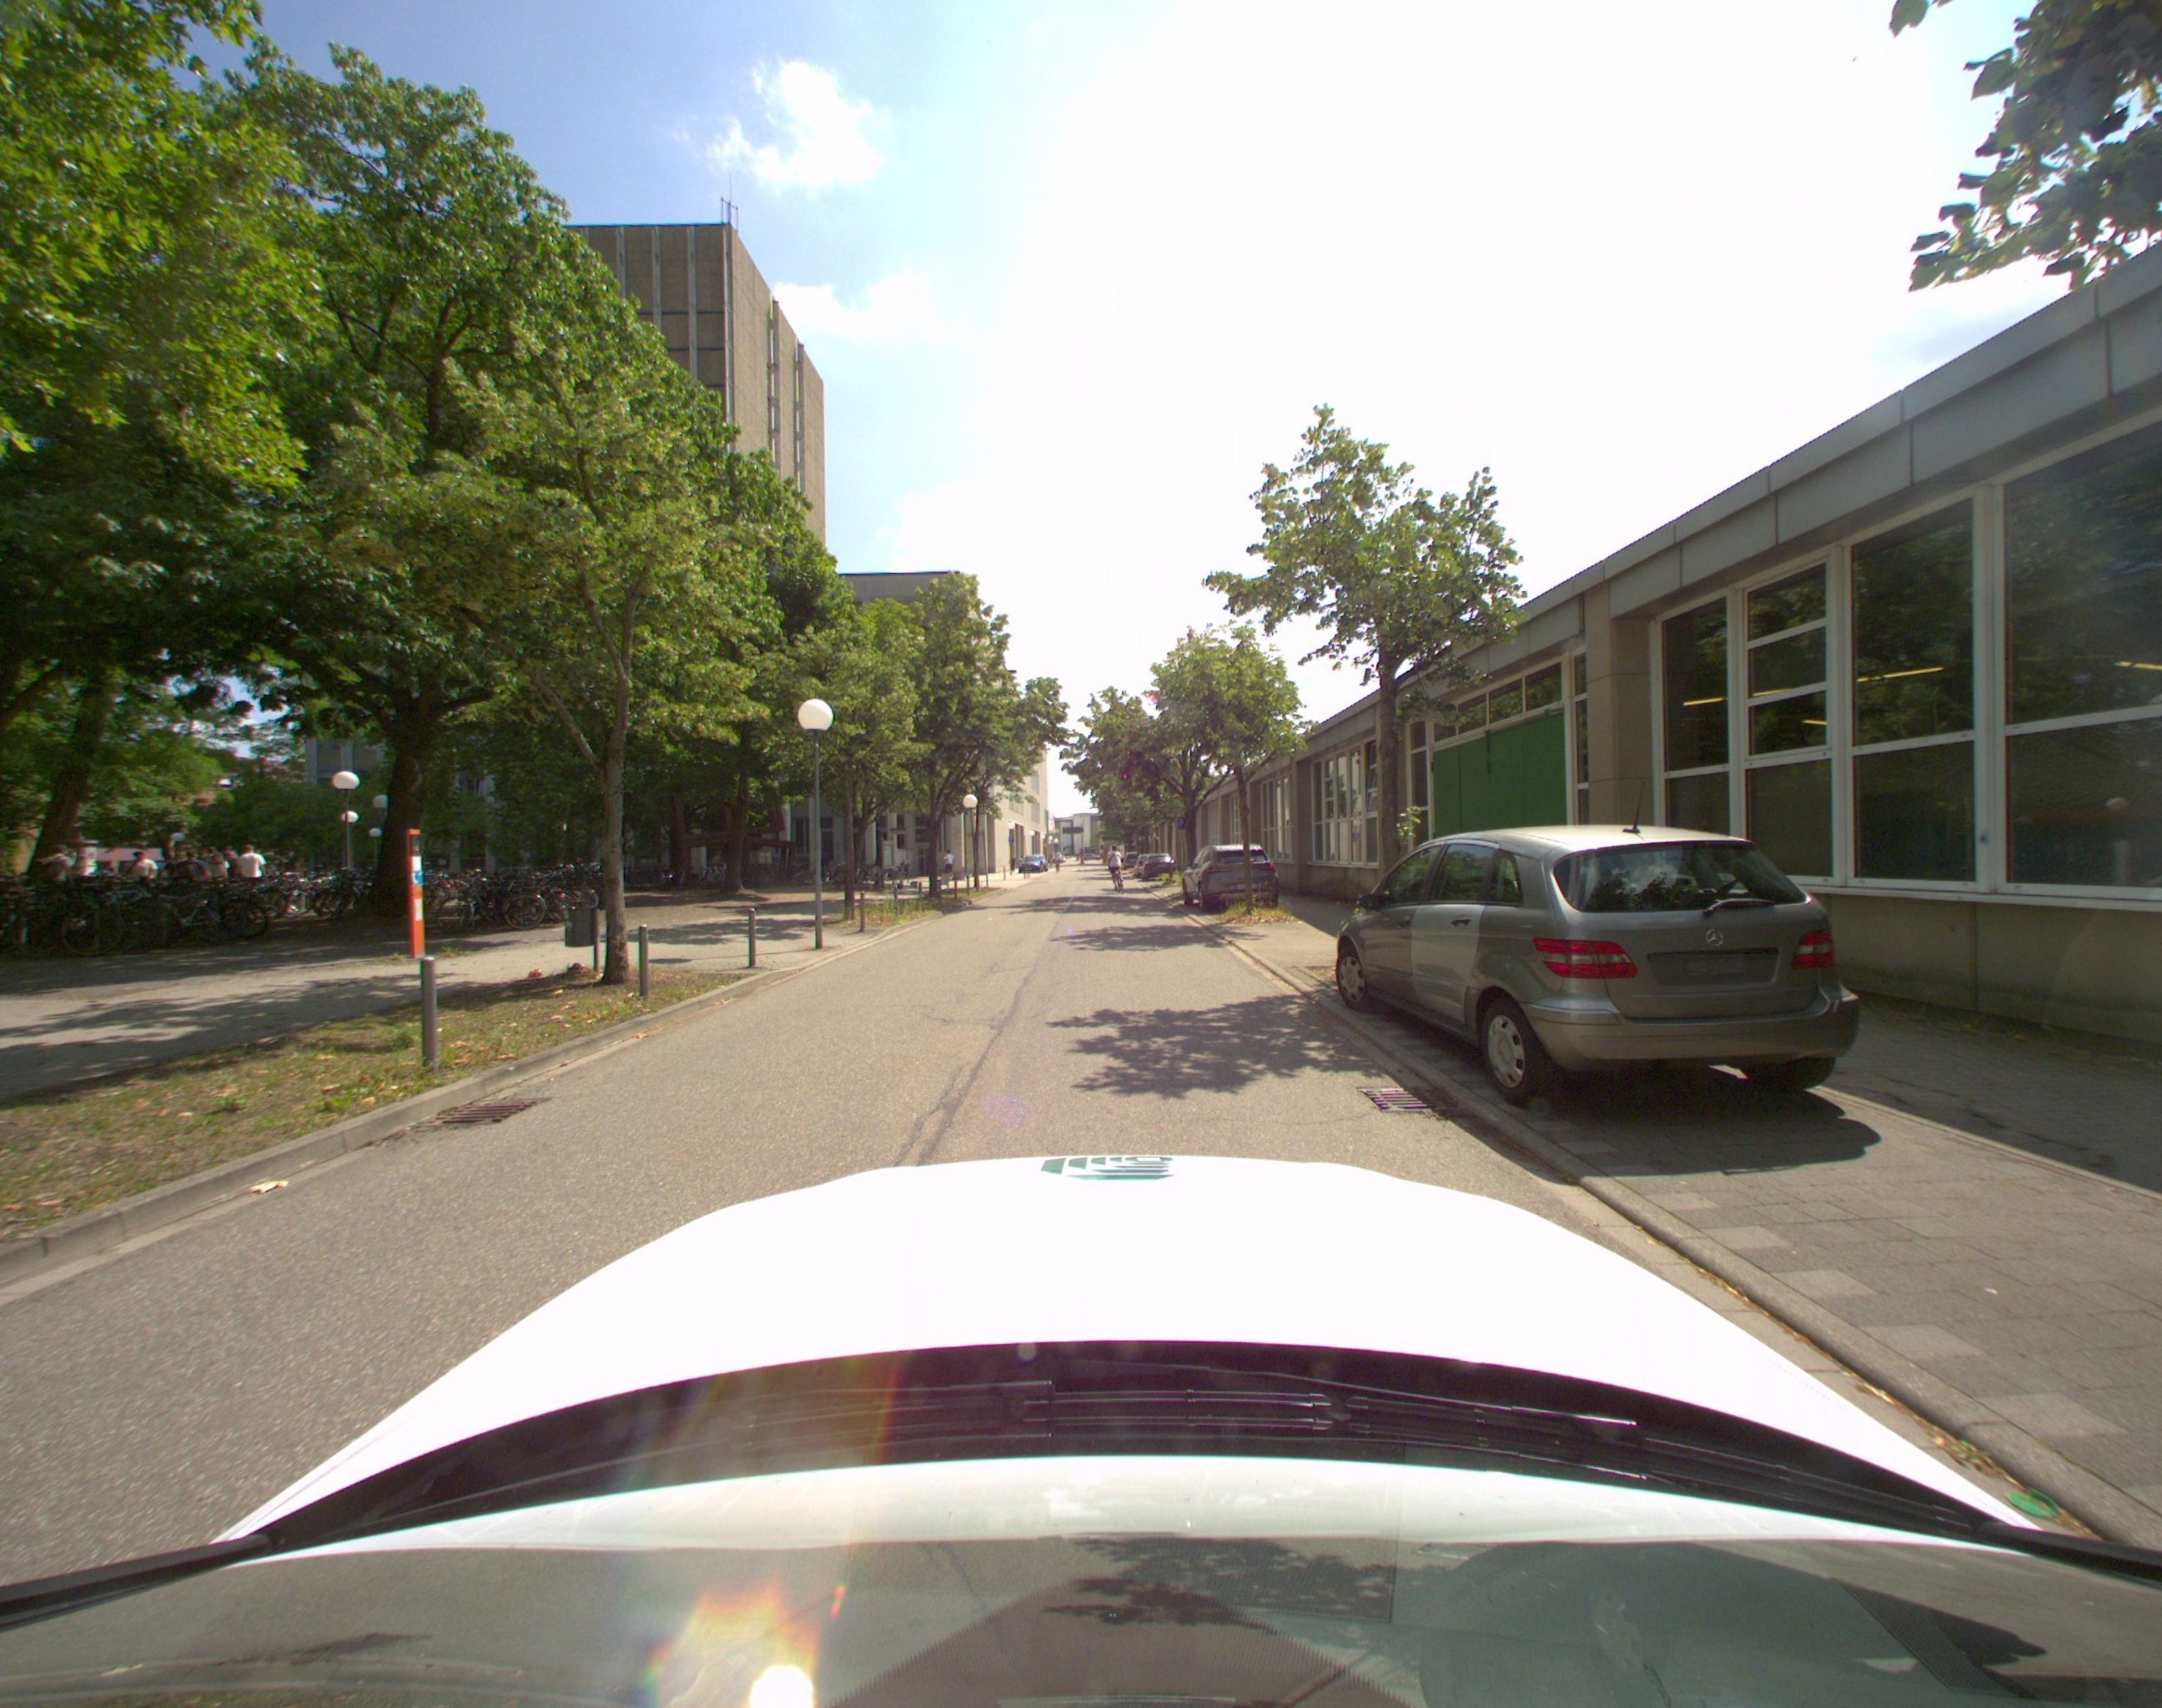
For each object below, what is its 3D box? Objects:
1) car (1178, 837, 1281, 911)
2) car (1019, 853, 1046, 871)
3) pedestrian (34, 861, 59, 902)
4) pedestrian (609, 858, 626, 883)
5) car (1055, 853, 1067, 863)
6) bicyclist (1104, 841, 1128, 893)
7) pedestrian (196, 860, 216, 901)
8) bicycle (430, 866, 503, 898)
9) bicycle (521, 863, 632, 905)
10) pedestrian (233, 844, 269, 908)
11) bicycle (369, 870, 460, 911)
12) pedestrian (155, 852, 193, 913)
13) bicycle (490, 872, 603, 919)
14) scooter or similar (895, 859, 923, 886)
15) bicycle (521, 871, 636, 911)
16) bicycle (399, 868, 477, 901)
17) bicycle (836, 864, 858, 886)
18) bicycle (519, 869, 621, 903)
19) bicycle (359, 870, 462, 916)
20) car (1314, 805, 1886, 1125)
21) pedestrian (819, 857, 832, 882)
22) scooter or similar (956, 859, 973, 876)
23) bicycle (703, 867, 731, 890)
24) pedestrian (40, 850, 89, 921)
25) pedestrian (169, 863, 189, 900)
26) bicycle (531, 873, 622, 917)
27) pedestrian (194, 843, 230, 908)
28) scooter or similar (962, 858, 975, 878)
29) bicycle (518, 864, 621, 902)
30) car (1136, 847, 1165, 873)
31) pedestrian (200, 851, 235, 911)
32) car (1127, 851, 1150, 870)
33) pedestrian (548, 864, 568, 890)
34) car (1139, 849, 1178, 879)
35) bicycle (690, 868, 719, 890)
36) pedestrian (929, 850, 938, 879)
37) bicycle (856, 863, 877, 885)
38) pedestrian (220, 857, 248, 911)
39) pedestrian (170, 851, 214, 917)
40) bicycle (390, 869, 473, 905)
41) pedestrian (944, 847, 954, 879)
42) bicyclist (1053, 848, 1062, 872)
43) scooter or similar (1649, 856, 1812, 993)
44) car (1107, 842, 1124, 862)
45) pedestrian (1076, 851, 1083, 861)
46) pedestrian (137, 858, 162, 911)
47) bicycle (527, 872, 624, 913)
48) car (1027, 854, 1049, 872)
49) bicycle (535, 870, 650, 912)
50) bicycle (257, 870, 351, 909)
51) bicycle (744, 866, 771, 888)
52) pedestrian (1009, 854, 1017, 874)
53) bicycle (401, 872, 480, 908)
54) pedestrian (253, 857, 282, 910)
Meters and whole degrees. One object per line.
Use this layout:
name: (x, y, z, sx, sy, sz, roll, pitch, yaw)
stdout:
car: (3.819, 0.514, 21.713, 1.817, 1.664, 4.582, -3, -1, -1)
car: (-4.084, 0.663, 68.868, 1.759, 1.427, 4.237, -1, -1, 3)
pedestrian: (-51.161, 1.369, 40.273, 0.528, 2.013, 0.578, 0, 0, 16)
pedestrian: (-29.444, 1.049, 51.704, 0.702, 1.540, 0.717, -1, 0, -9)
car: (-3.286, 0.724, 134.296, 1.640, 1.498, 3.728, -2, -2, 1)
bicyclist: (1.366, 0.498, 32.011, 0.869, 2.013, 0.851, -1, 0, 5)
pedestrian: (-36.715, 1.114, 34.180, 0.414, 1.714, 0.539, 0, 0, -30)
bicycle: (-22.649, 1.037, 30.051, 2.068, 1.132, 0.633, 2, -1, -34)
bicycle: (-16.100, 0.935, 26.047, 2.924, 1.220, 0.872, -1, 0, -42)
pedestrian: (-25.858, 0.674, 25.373, 0.650, 1.934, 0.689, 0, 0, -34)
bicycle: (-20.283, 1.083, 24.835, 2.069, 1.132, 0.633, -1, 1, -34)
pedestrian: (-25.411, 0.775, 22.815, 0.558, 1.670, 0.696, 0, 0, -34)
bicycle: (-12.456, 0.944, 19.079, 2.160, 1.008, 0.671, -1, 0, -29)
scooter or similar: (-7.704, 0.831, 36.524, 0.335, 1.175, 1.337, -1, 0, 36)
bicycle: (-14.072, 1.008, 22.864, 2.665, 1.008, 0.670, -1, 0, -42)
bicycle: (-22.585, 1.062, 28.649, 2.068, 1.132, 0.633, 1, 0, -34)
bicycle: (-12.284, 1.087, 42.821, 0.550, 1.086, 1.973, 1, 0, 1)
bicycle: (-16.873, 1.022, 26.965, 2.748, 1.003, 0.872, -1, 0, -42)
bicycle: (-17.979, 1.026, 21.904, 2.069, 1.132, 0.633, 0, 0, -34)
car: (3.273, 0.568, 6.269, 1.699, 1.574, 4.139, -2, 0, 0)
pedestrian: (-16.990, 1.028, 54.127, 0.637, 1.661, 0.688, -1, 0, -30)
scooter or similar: (-8.561, 0.989, 59.697, 0.529, 1.210, 1.541, -1, 0, -36)
bicycle: (-18.917, 1.258, 42.363, 0.550, 1.086, 1.973, 1, 0, 1)
pedestrian: (-24.452, 0.746, 19.600, 0.580, 1.670, 0.624, 0, 0, -34)
pedestrian: (-37.278, 1.129, 33.655, 0.411, 1.526, 0.482, 0, 0, -30)
bicycle: (-12.535, 1.005, 20.312, 1.897, 1.008, 0.671, -1, 0, -29)
pedestrian: (-26.610, 0.646, 24.946, 0.624, 1.934, 0.675, 0, 0, -34)
scooter or similar: (-7.251, 0.886, 52.580, 0.452, 1.223, 1.551, -1, 0, 5)
bicycle: (-17.514, 0.957, 27.949, 2.899, 1.178, 0.872, -1, 0, -42)
car: (4.307, 0.381, 50.964, 1.610, 1.538, 3.781, -1, 0, 1)
pedestrian: (-24.735, 0.766, 23.333, 0.558, 1.670, 0.686, 0, 0, -34)
car: (5.168, 0.544, 73.241, 1.852, 1.574, 4.001, -3, 0, 2)
pedestrian: (-32.179, 1.405, 50.087, 0.824, 1.593, 0.598, -1, 0, 2)
car: (4.263, 0.539, 45.234, 1.774, 1.476, 4.462, -3, 0, 1)
bicycle: (-19.693, 1.287, 42.589, 0.550, 1.086, 1.973, 1, 0, 1)
pedestrian: (-9.200, 0.673, 50.734, 0.444, 1.775, 0.447, -1, 0, -30)
bicycle: (-11.182, 1.046, 42.517, 0.550, 1.086, 1.973, 1, 0, 1)
pedestrian: (-31.954, 1.106, 30.725, 0.528, 2.013, 0.522, 0, 0, 16)
pedestrian: (-23.354, 0.770, 21.411, 0.634, 1.670, 0.722, 0, 0, -34)
bicycle: (-21.394, 1.085, 26.888, 2.068, 1.132, 0.633, 2, -1, -34)
pedestrian: (-8.101, 0.522, 49.958, 0.415, 1.942, 0.657, 0, 0, -28)
bicyclist: (-2.019, 0.515, 69.638, 0.709, 2.013, 1.018, -3, 0, -1)
scooter or similar: (6.394, 0.641, 8.112, 0.414, 1.217, 1.493, -3, 0, 1)
car: (4.595, -0.259, 109.048, 2.076, 2.539, 4.316, 0, 0, 1)
pedestrian: (-0.387, 0.416, 180.229, 1.413, 2.107, 0.994, 0, 0, -3)
pedestrian: (-28.544, 0.931, 24.960, 0.346, 1.614, 0.464, 0, 0, 32)
bicycle: (-13.337, 0.997, 21.571, 2.160, 1.008, 0.671, -1, 0, -30)
car: (-3.879, 0.803, 73.671, 1.625, 1.485, 4.179, -1, 0, 2)
bicycle: (-14.247, 1.049, 23.813, 2.766, 1.086, 0.872, -1, 0, -42)
bicycle: (-24.615, 1.103, 25.858, 2.069, 1.132, 0.633, -1, 1, -34)
bicycle: (-16.800, 1.197, 42.312, 0.550, 1.086, 1.973, 1, 0, 1)
pedestrian: (-5.807, 0.842, 69.684, 0.649, 1.701, 0.886, -1, 0, -10)
bicycle: (-21.796, 1.199, 27.779, 2.069, 1.132, 0.633, -1, 1, -34)
pedestrian: (-31.265, 1.109, 31.294, 0.528, 2.013, 0.595, 0, 0, 16)
